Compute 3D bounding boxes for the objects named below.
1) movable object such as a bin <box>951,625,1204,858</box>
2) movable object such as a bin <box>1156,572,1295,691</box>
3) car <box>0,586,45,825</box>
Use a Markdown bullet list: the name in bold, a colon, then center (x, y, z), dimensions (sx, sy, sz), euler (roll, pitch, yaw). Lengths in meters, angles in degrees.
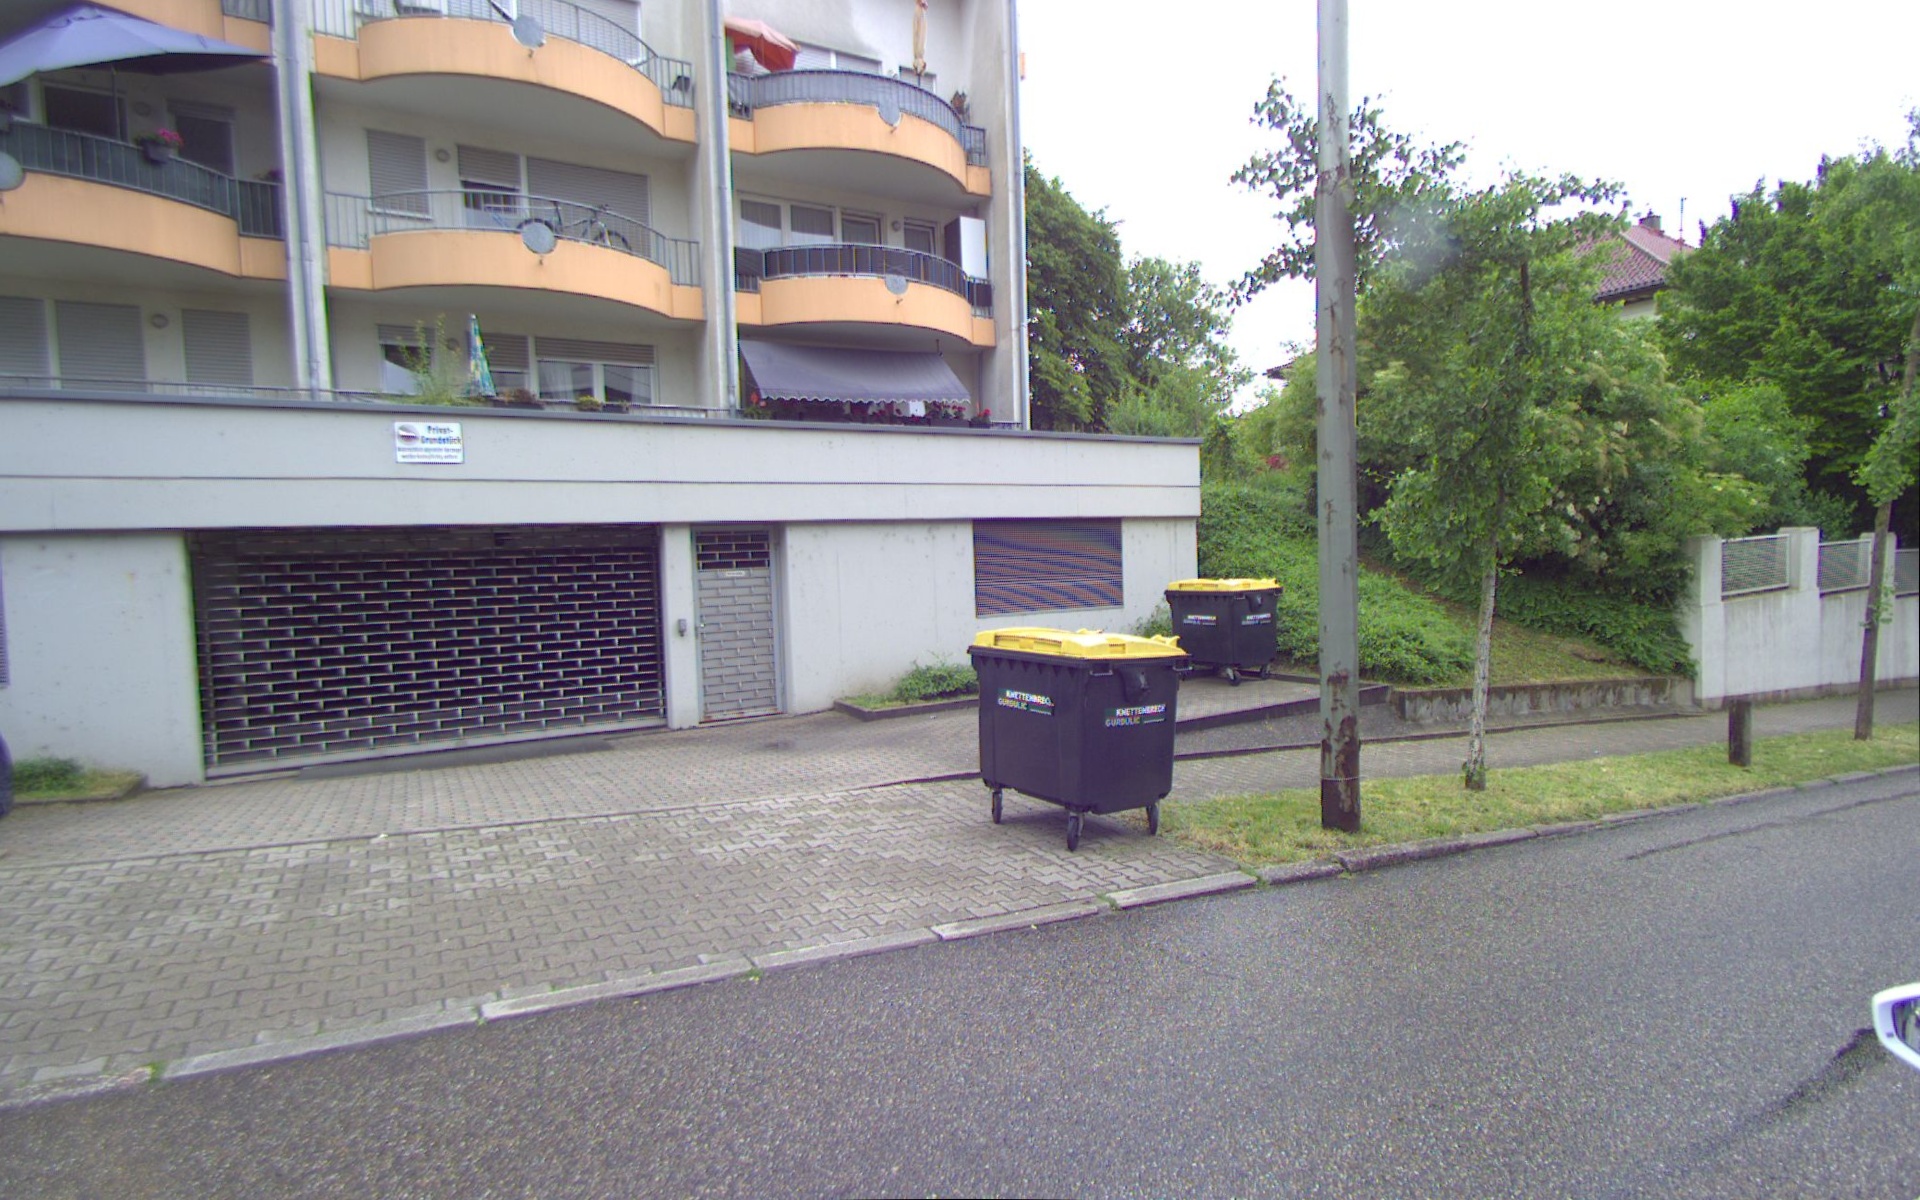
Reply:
- **movable object such as a bin**: center (0.783, 0.873, 6.885), dimensions (1.145, 1.324, 1.288), euler (0, 2, -38)
- **movable object such as a bin**: center (3.542, 0.372, 13.407), dimensions (1.215, 1.383, 1.289), euler (-7, 6, -36)
- **car**: center (-8.124, 0.671, 5.655), dimensions (4.050, 1.582, 1.770), euler (1, -4, -31)
